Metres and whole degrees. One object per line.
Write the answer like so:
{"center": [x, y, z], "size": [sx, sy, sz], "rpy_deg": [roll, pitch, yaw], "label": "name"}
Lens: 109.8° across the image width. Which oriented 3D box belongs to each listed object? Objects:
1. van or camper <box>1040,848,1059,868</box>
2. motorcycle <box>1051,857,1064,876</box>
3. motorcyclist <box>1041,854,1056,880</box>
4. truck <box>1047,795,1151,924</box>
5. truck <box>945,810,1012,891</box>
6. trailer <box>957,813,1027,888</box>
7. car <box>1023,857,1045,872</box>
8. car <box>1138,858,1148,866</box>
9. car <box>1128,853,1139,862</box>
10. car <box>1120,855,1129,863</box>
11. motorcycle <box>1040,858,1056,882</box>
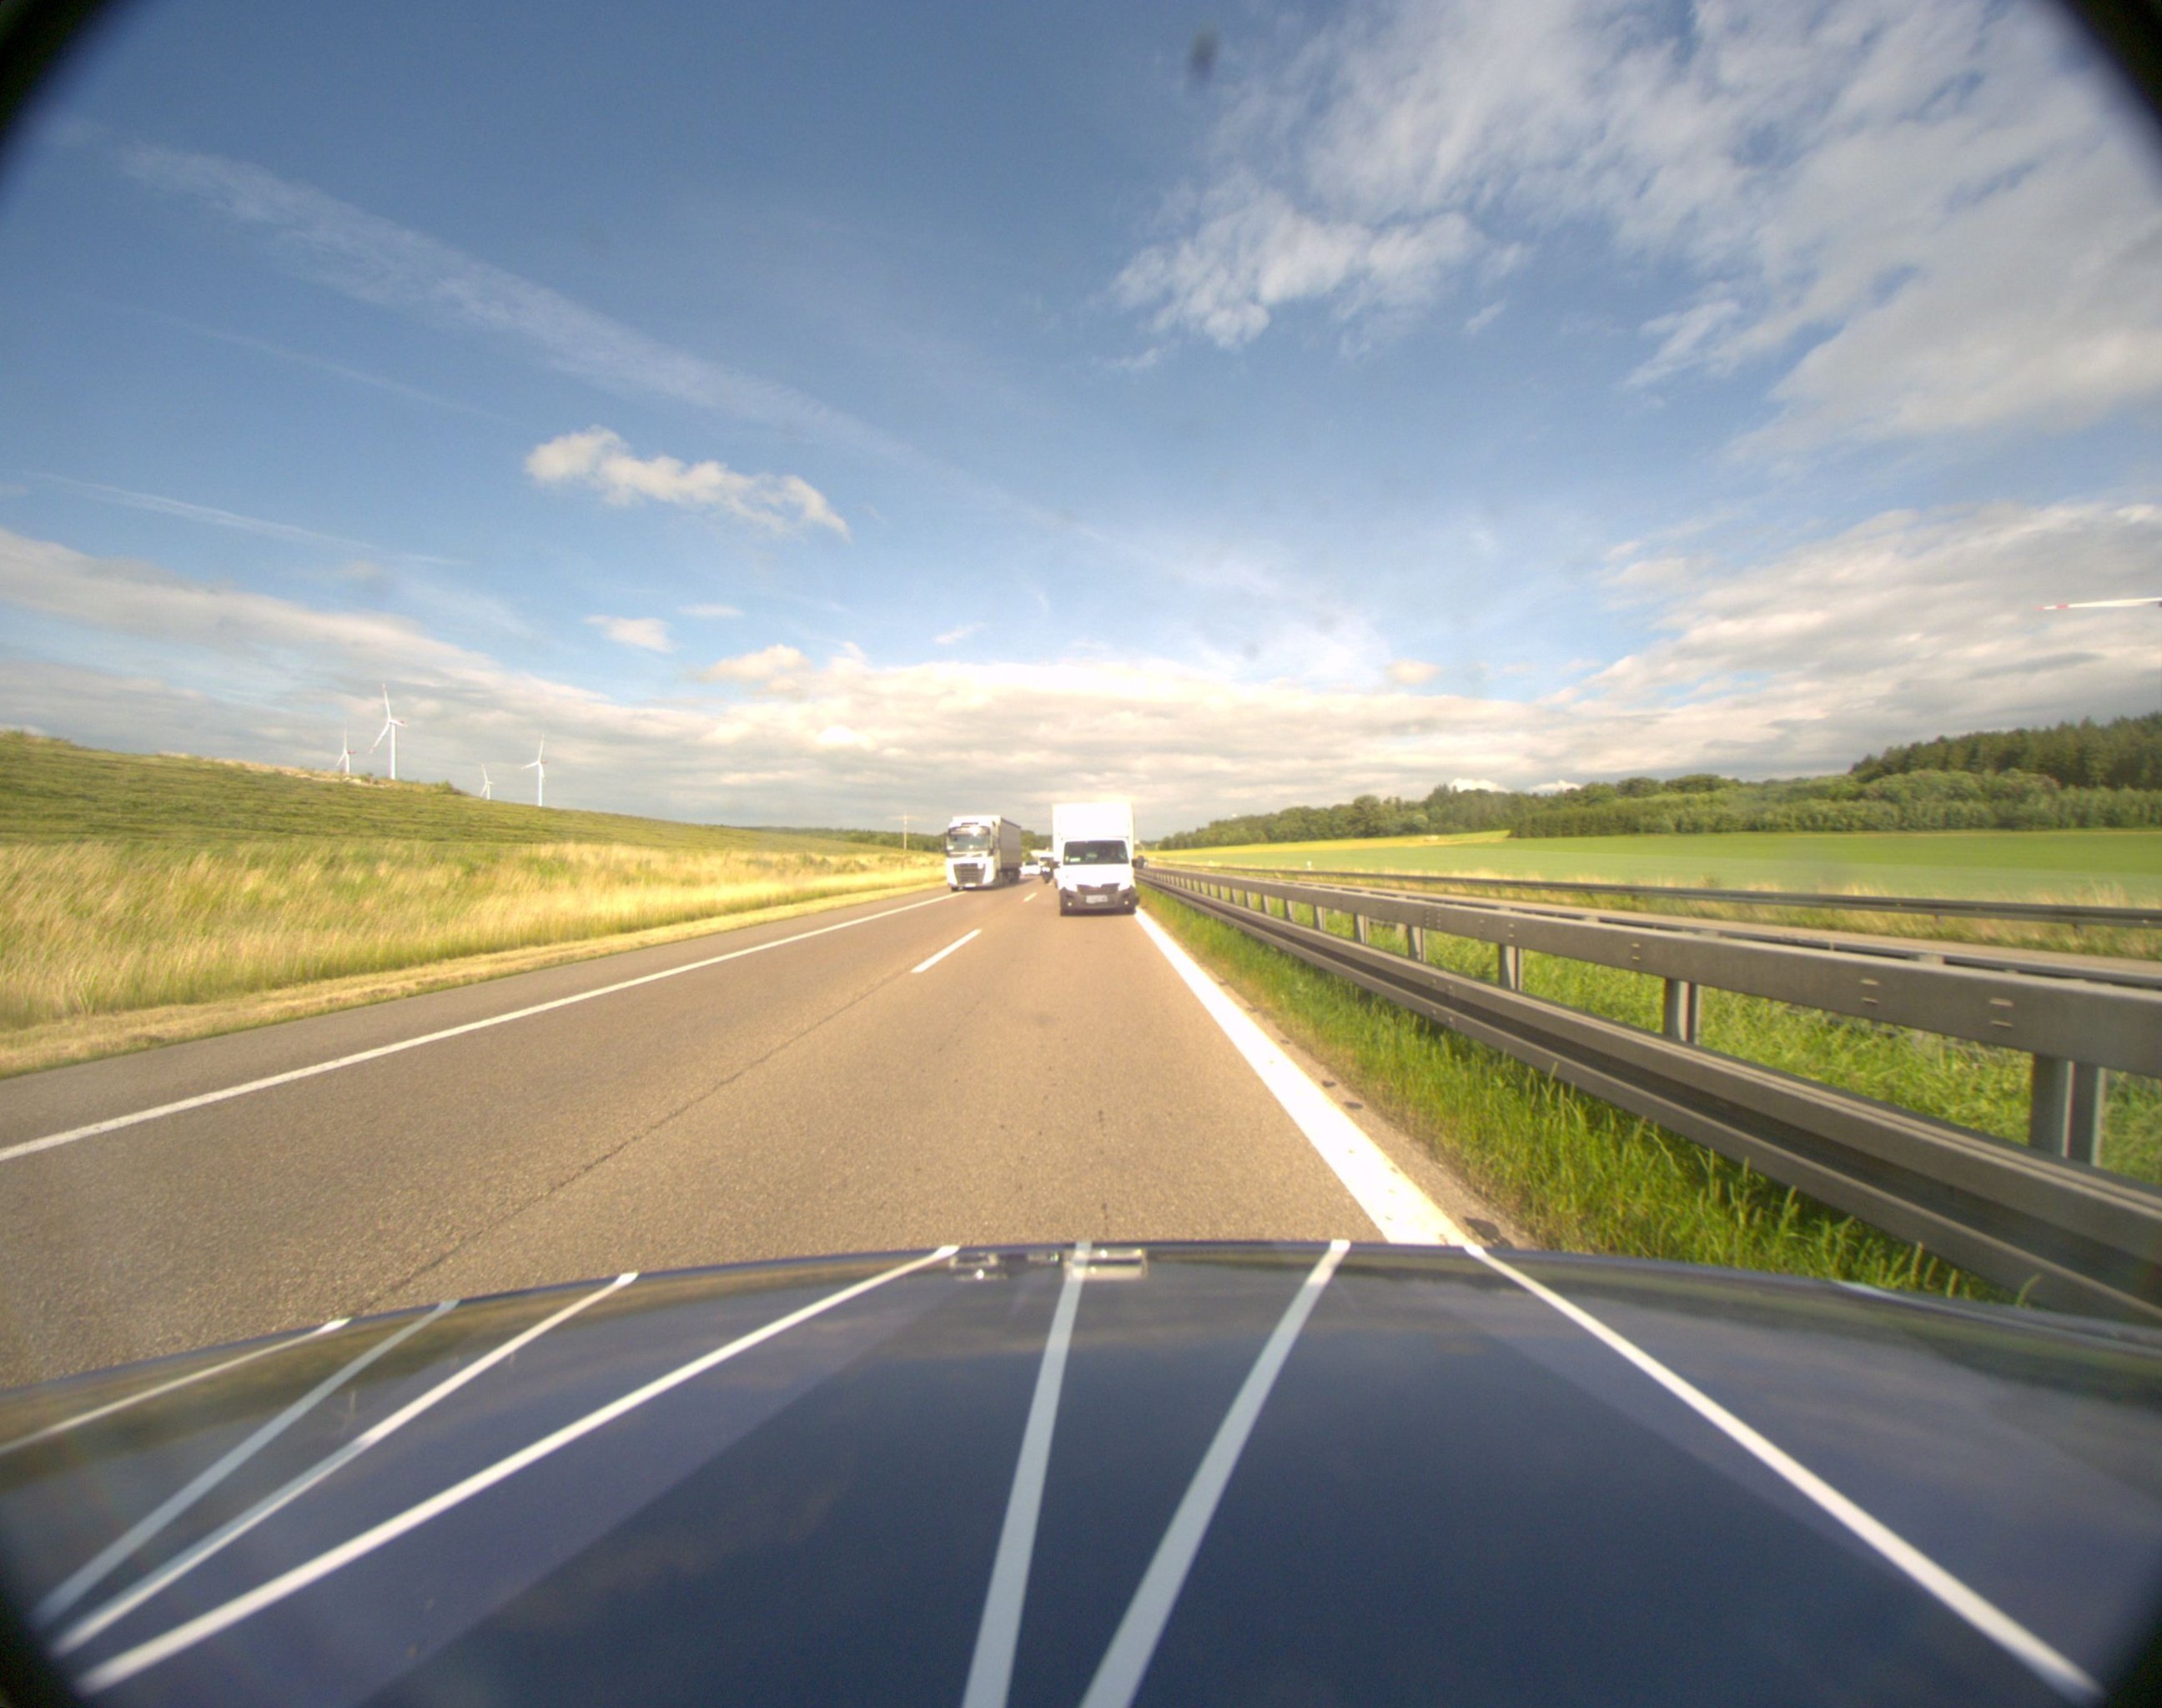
{"center": [-4.079, 0.507, 99.570], "size": [2.102, 2.530, 6.412], "rpy_deg": [-1, 1, 1], "label": "van or camper"}
{"center": [-1.927, 1.003, 62.299], "size": [0.898, 1.447, 1.982], "rpy_deg": [-1, 1, 0], "label": "motorcycle"}
{"center": [-2.111, 0.833, 49.218], "size": [0.898, 1.608, 1.022], "rpy_deg": [-1, 1, 0], "label": "motorcyclist"}
{"center": [0.439, 0.169, 24.484], "size": [2.502, 3.140, 11.163], "rpy_deg": [-1, 0, 0], "label": "truck"}
{"center": [-5.483, -0.177, 41.680], "size": [2.607, 4.017, 6.119], "rpy_deg": [-3, 0, 0], "label": "truck"}
{"center": [-5.410, -0.180, 48.897], "size": [2.623, 4.017, 13.698], "rpy_deg": [-3, 0, 0], "label": "trailer"}
{"center": [-4.696, 1.034, 76.908], "size": [1.871, 1.409, 4.461], "rpy_deg": [-1, 1, 1], "label": "car"}
{"center": [12.383, 1.630, 151.687], "size": [1.739, 1.579, 4.117], "rpy_deg": [-1, 1, 1], "label": "car"}
{"center": [9.384, 0.643, 136.130], "size": [1.601, 1.506, 4.159], "rpy_deg": [-1, 1, 1], "label": "car"}
{"center": [9.869, 1.157, 172.576], "size": [1.827, 1.759, 4.363], "rpy_deg": [-1, 1, 1], "label": "car"}
{"center": [-2.111, 1.009, 49.271], "size": [0.898, 1.447, 2.269], "rpy_deg": [-1, 1, 0], "label": "motorcycle"}
